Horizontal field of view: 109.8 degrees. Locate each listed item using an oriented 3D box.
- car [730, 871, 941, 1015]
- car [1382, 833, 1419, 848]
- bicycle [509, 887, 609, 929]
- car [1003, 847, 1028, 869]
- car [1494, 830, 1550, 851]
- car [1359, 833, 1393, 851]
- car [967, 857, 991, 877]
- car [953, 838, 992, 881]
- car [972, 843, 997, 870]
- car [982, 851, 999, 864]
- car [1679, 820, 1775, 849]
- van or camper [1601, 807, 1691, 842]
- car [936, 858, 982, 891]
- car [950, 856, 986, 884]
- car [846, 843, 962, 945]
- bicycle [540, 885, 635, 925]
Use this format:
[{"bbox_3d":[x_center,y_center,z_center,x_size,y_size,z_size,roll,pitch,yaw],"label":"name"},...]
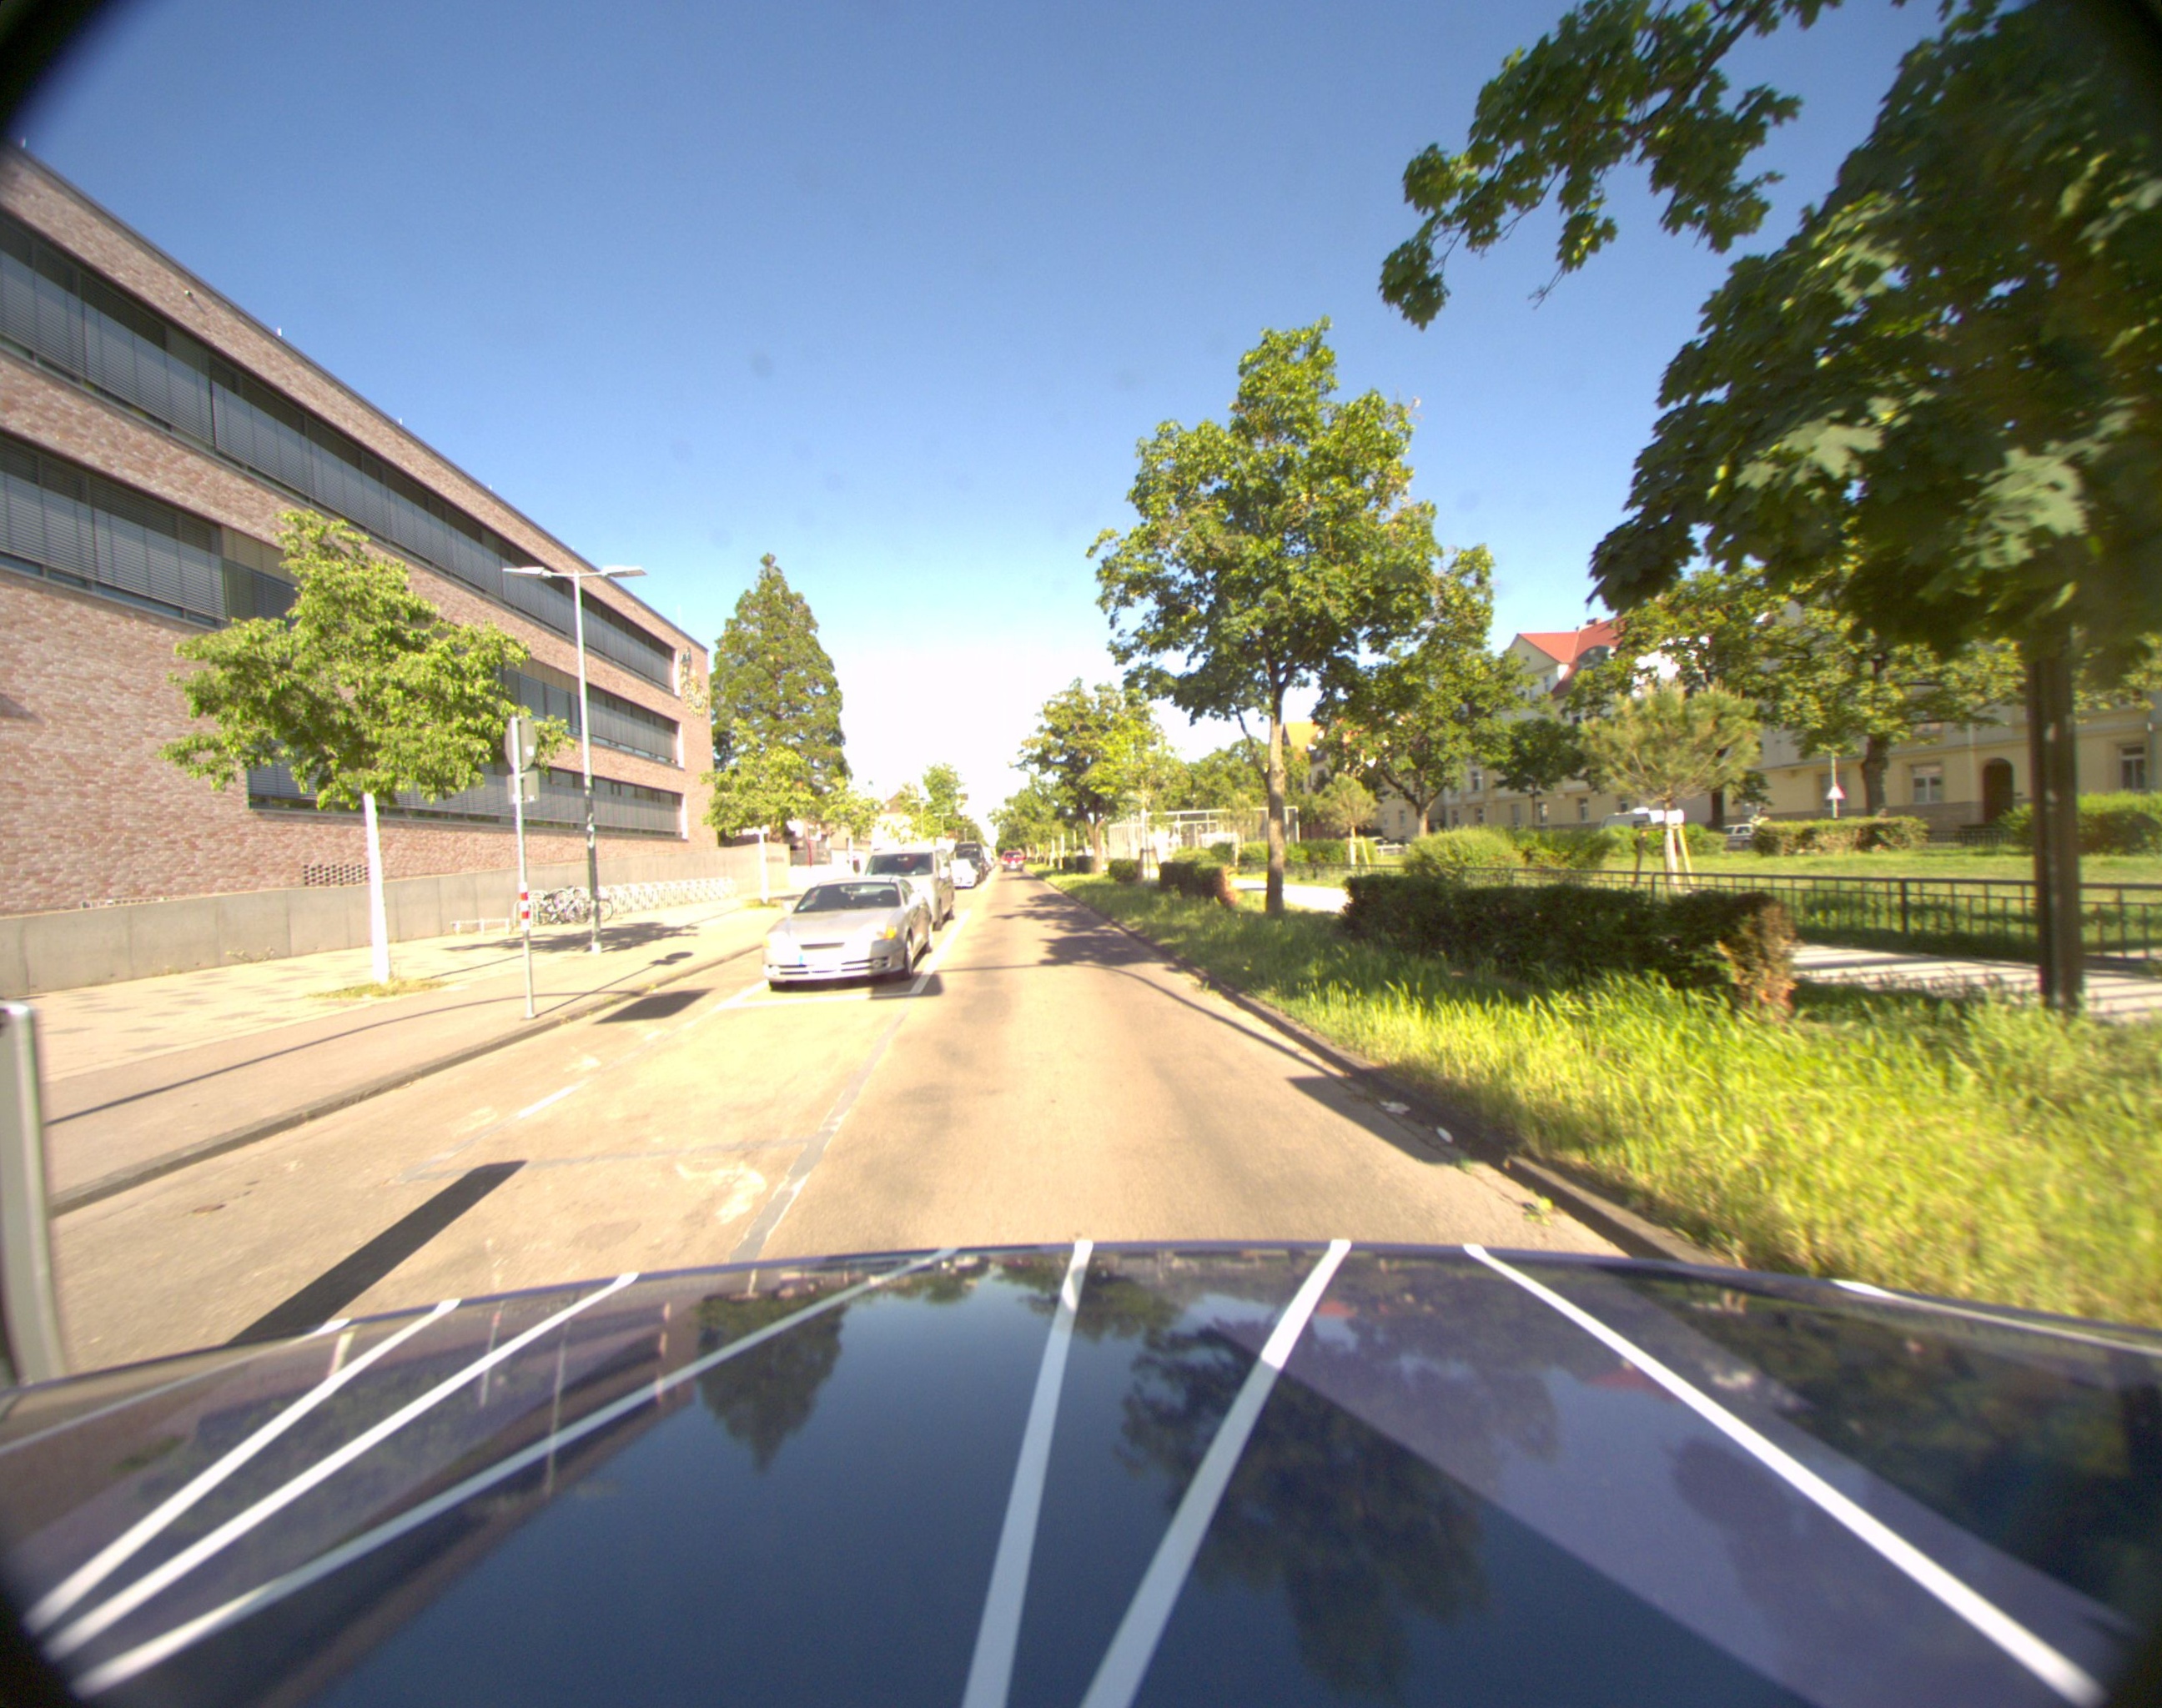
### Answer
[{"bbox_3d":[-3.095,1.015,10.666,1.653,1.324,4.932,-3,1,-5],"label":"car"},{"bbox_3d":[32.780,-1.368,78.150,1.845,1.444,3.998,-3,1,-5],"label":"car"},{"bbox_3d":[-13.942,1.426,20.344,2.031,1.057,0.882,0,1,-7],"label":"bicycle"},{"bbox_3d":[-6.155,0.365,71.756,2.022,1.867,4.738,-3,1,-2],"label":"car"},{"bbox_3d":[34.628,-1.041,59.783,1.845,1.444,3.998,-3,1,-5],"label":"car"},{"bbox_3d":[32.405,-1.322,83.554,1.956,1.783,3.998,-3,1,-5],"label":"car"},{"bbox_3d":[-8.240,1.010,61.639,1.716,1.412,3.922,-3,1,-5],"label":"car"},{"bbox_3d":[-7.140,0.326,50.538,2.075,2.583,6.199,-3,1,-5],"label":"car"},{"bbox_3d":[-10.215,0.246,80.527,2.197,2.583,6.041,-3,1,-5],"label":"car"},{"bbox_3d":[-11.922,0.412,100.322,2.058,1.588,4.751,-3,1,-5],"label":"car"},{"bbox_3d":[36.580,-1.064,43.164,1.845,1.444,3.998,-3,1,-5],"label":"car"},{"bbox_3d":[36.036,-1.861,48.615,2.274,2.002,4.371,-3,1,-5],"label":"van or camper"},{"bbox_3d":[-5.932,0.945,37.195,1.825,1.412,4.038,-3,1,-5],"label":"car"},{"bbox_3d":[-6.426,0.883,43.554,1.716,1.412,3.922,-3,1,-5],"label":"car"},{"bbox_3d":[-3.847,0.775,17.258,1.789,1.899,4.624,-3,1,-5],"label":"car"},{"bbox_3d":[-14.029,1.430,21.630,2.085,1.058,0.859,0,1,-5],"label":"bicycle"}]
